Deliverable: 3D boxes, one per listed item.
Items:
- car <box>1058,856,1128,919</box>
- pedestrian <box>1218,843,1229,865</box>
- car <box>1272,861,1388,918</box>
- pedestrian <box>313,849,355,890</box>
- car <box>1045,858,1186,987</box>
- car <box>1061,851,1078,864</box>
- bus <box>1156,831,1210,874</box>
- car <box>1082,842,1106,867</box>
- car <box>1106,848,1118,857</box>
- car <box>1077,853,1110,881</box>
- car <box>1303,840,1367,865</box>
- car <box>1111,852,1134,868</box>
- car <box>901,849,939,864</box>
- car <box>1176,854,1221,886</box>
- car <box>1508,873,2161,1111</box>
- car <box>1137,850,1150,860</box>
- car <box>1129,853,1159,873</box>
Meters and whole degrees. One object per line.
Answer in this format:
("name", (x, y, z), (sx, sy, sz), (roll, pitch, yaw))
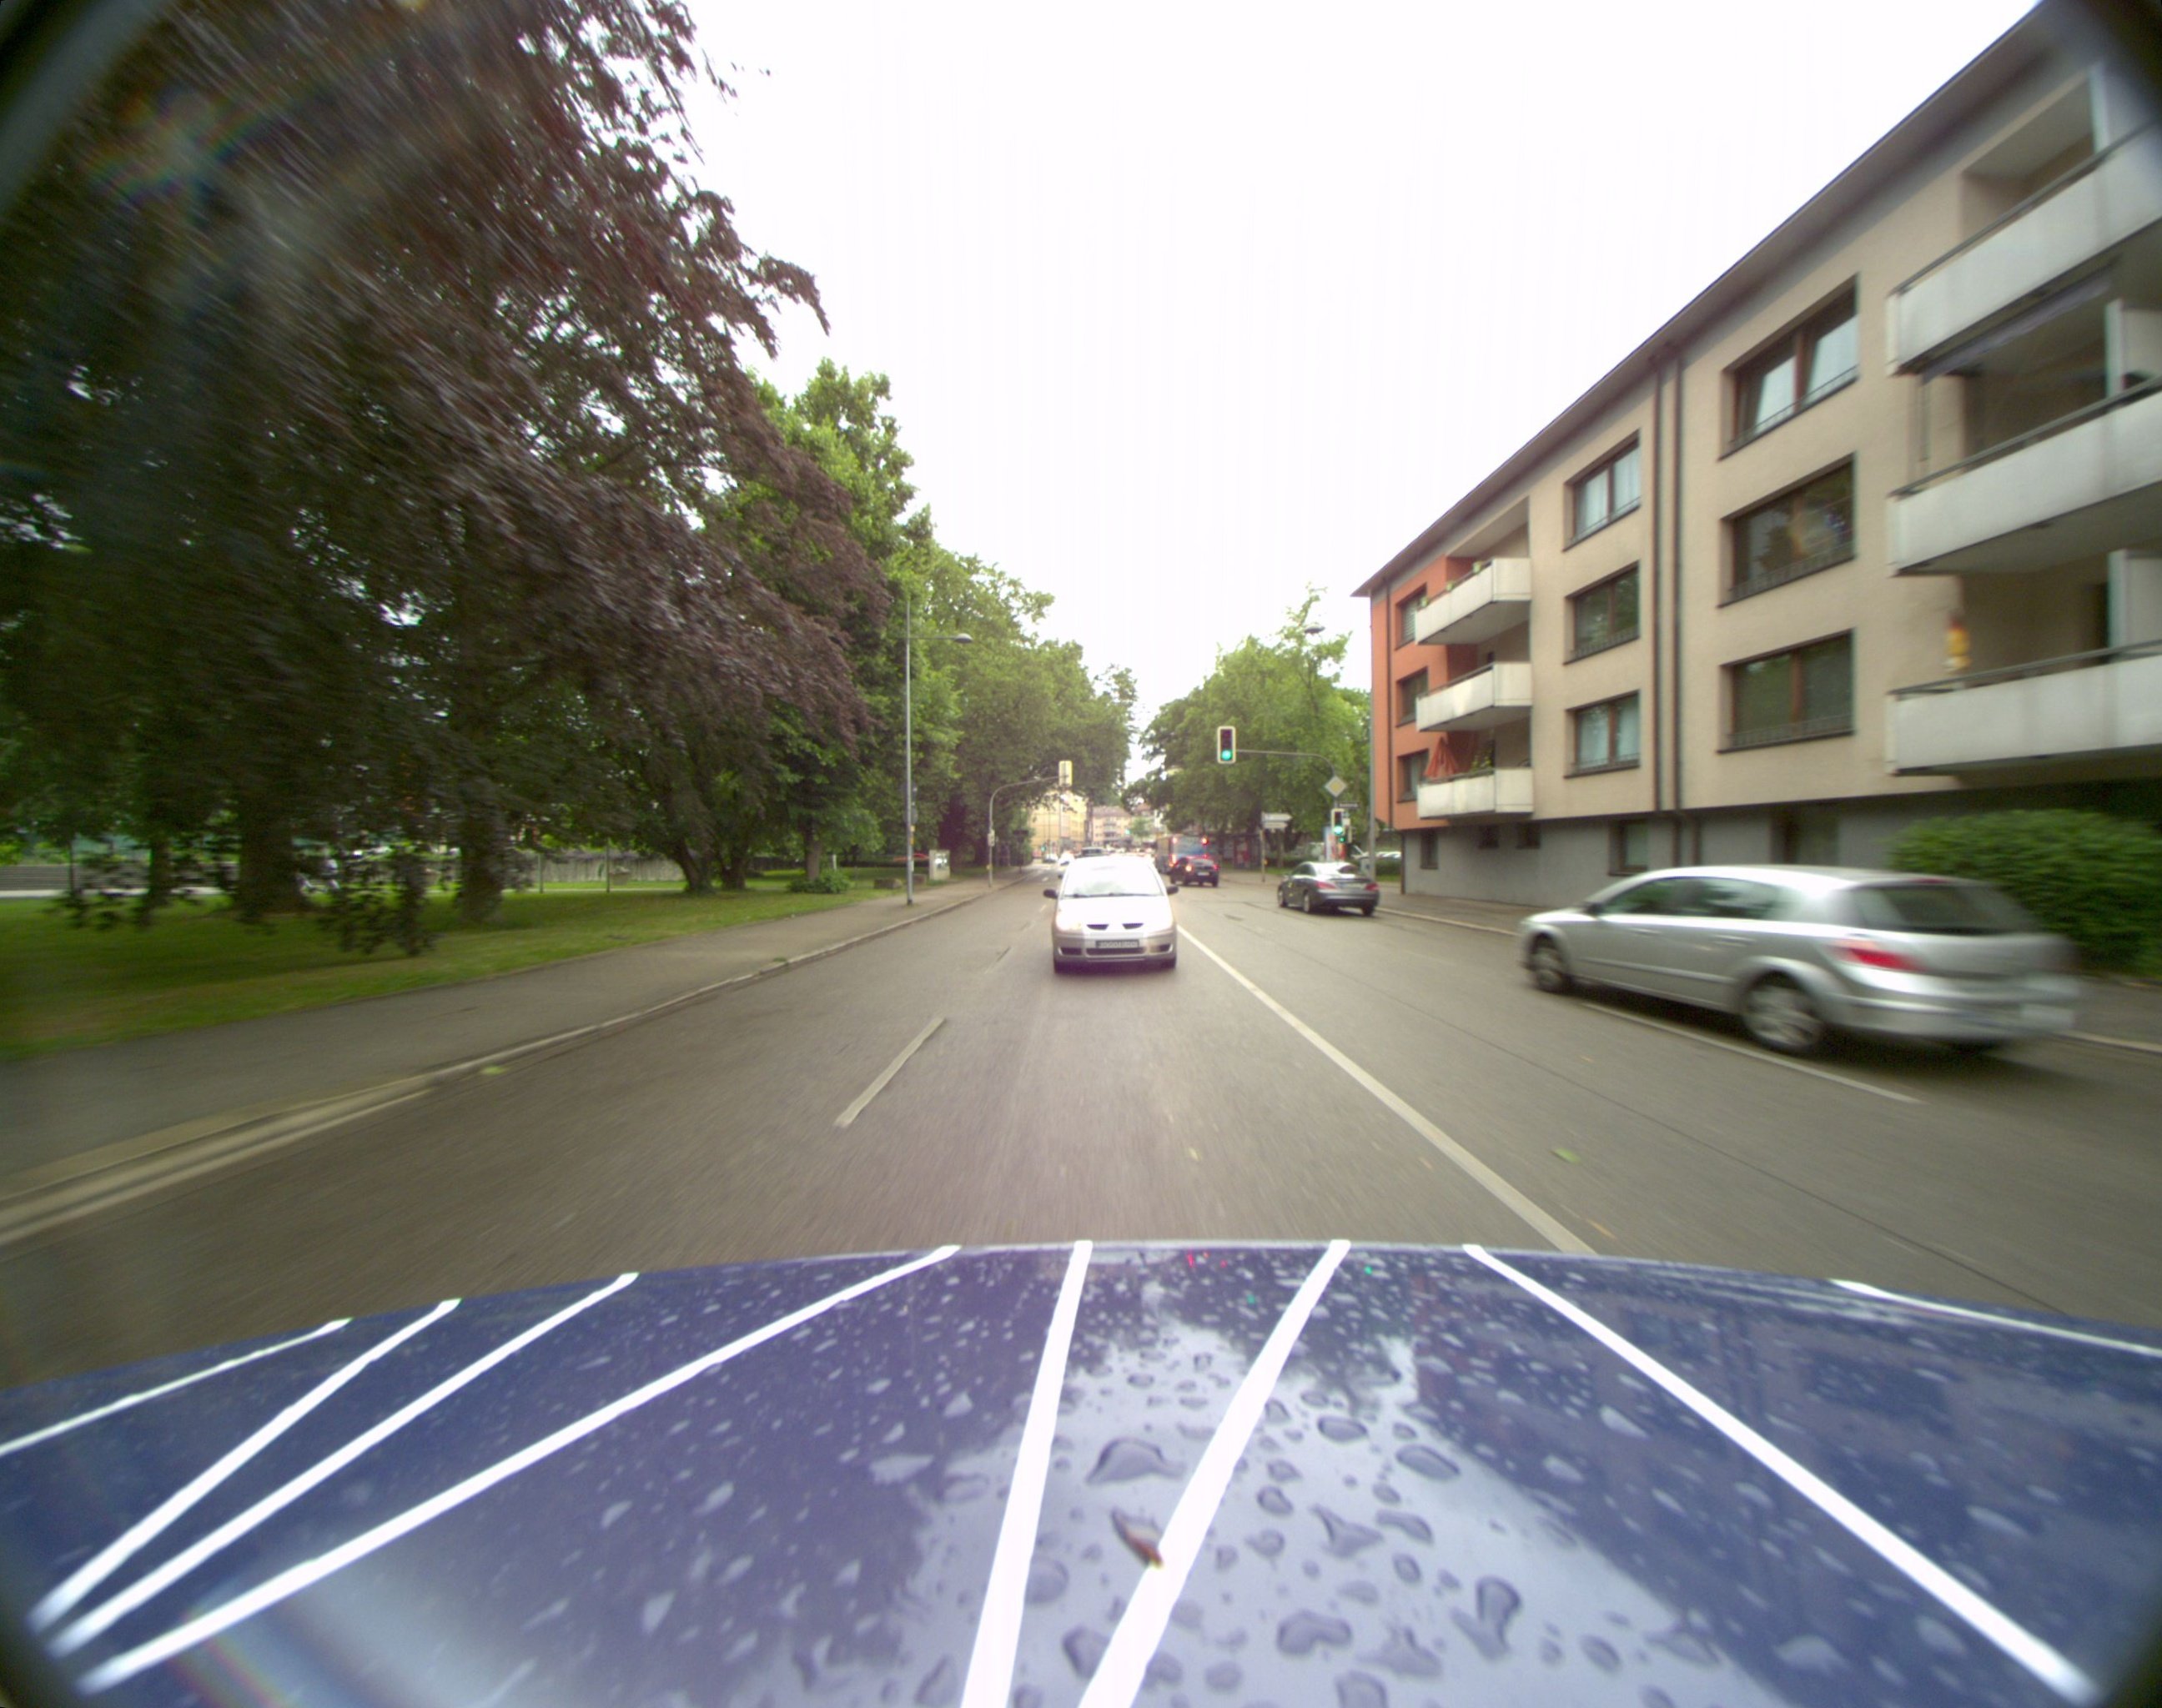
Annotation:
("car", (0.324, 0.850, 21.188), (1.718, 1.509, 4.088), (-1, 0, 0))
("pedestrian", (12.090, -0.006, 64.287), (0.711, 1.759, 0.687), (-3, 1, 1))
("car", (6.859, 0.920, 21.466), (1.817, 1.407, 4.683), (0, 0, 1))
("pedestrian", (-33.065, 0.678, 33.638), (0.840, 1.753, 0.879), (-3, 1, -5))
("car", (0.453, 0.876, 11.958), (1.718, 1.509, 4.806), (-3, 0, 0))
("car", (-1.424, 0.485, 97.155), (1.906, 1.538, 4.000), (-1, 1, 2))
("bus", (7.664, -0.186, 58.795), (2.700, 2.923, 12.083), (0, 1, 1))
("car", (1.163, -0.011, 67.690), (2.037, 2.119, 4.000), (-1, 1, 2))
("car", (5.297, -0.251, 130.696), (1.802, 1.508, 4.580), (1, 0, 0))
("car", (0.727, 0.694, 42.897), (1.800, 1.449, 4.491), (0, 0, 2))
("car", (19.509, -0.121, 58.404), (4.334, 1.911, 1.702), (0, 1, -2))
("car", (4.019, 0.515, 72.602), (1.799, 1.449, 4.493), (1, 0, 8))
("car", (-18.359, 0.288, 86.811), (3.998, 1.706, 1.999), (0, 0, -2))
("car", (5.809, 0.744, 37.933), (1.691, 1.483, 3.890), (1, 0, 0))
("car", (6.022, 0.918, 6.847), (1.818, 1.407, 4.046), (0, 0, -5))
("car", (10.399, 0.149, 126.471), (1.802, 1.508, 4.807), (1, 0, 0))
("car", (4.452, 0.634, 54.413), (1.798, 1.407, 4.335), (0, 0, 0))
